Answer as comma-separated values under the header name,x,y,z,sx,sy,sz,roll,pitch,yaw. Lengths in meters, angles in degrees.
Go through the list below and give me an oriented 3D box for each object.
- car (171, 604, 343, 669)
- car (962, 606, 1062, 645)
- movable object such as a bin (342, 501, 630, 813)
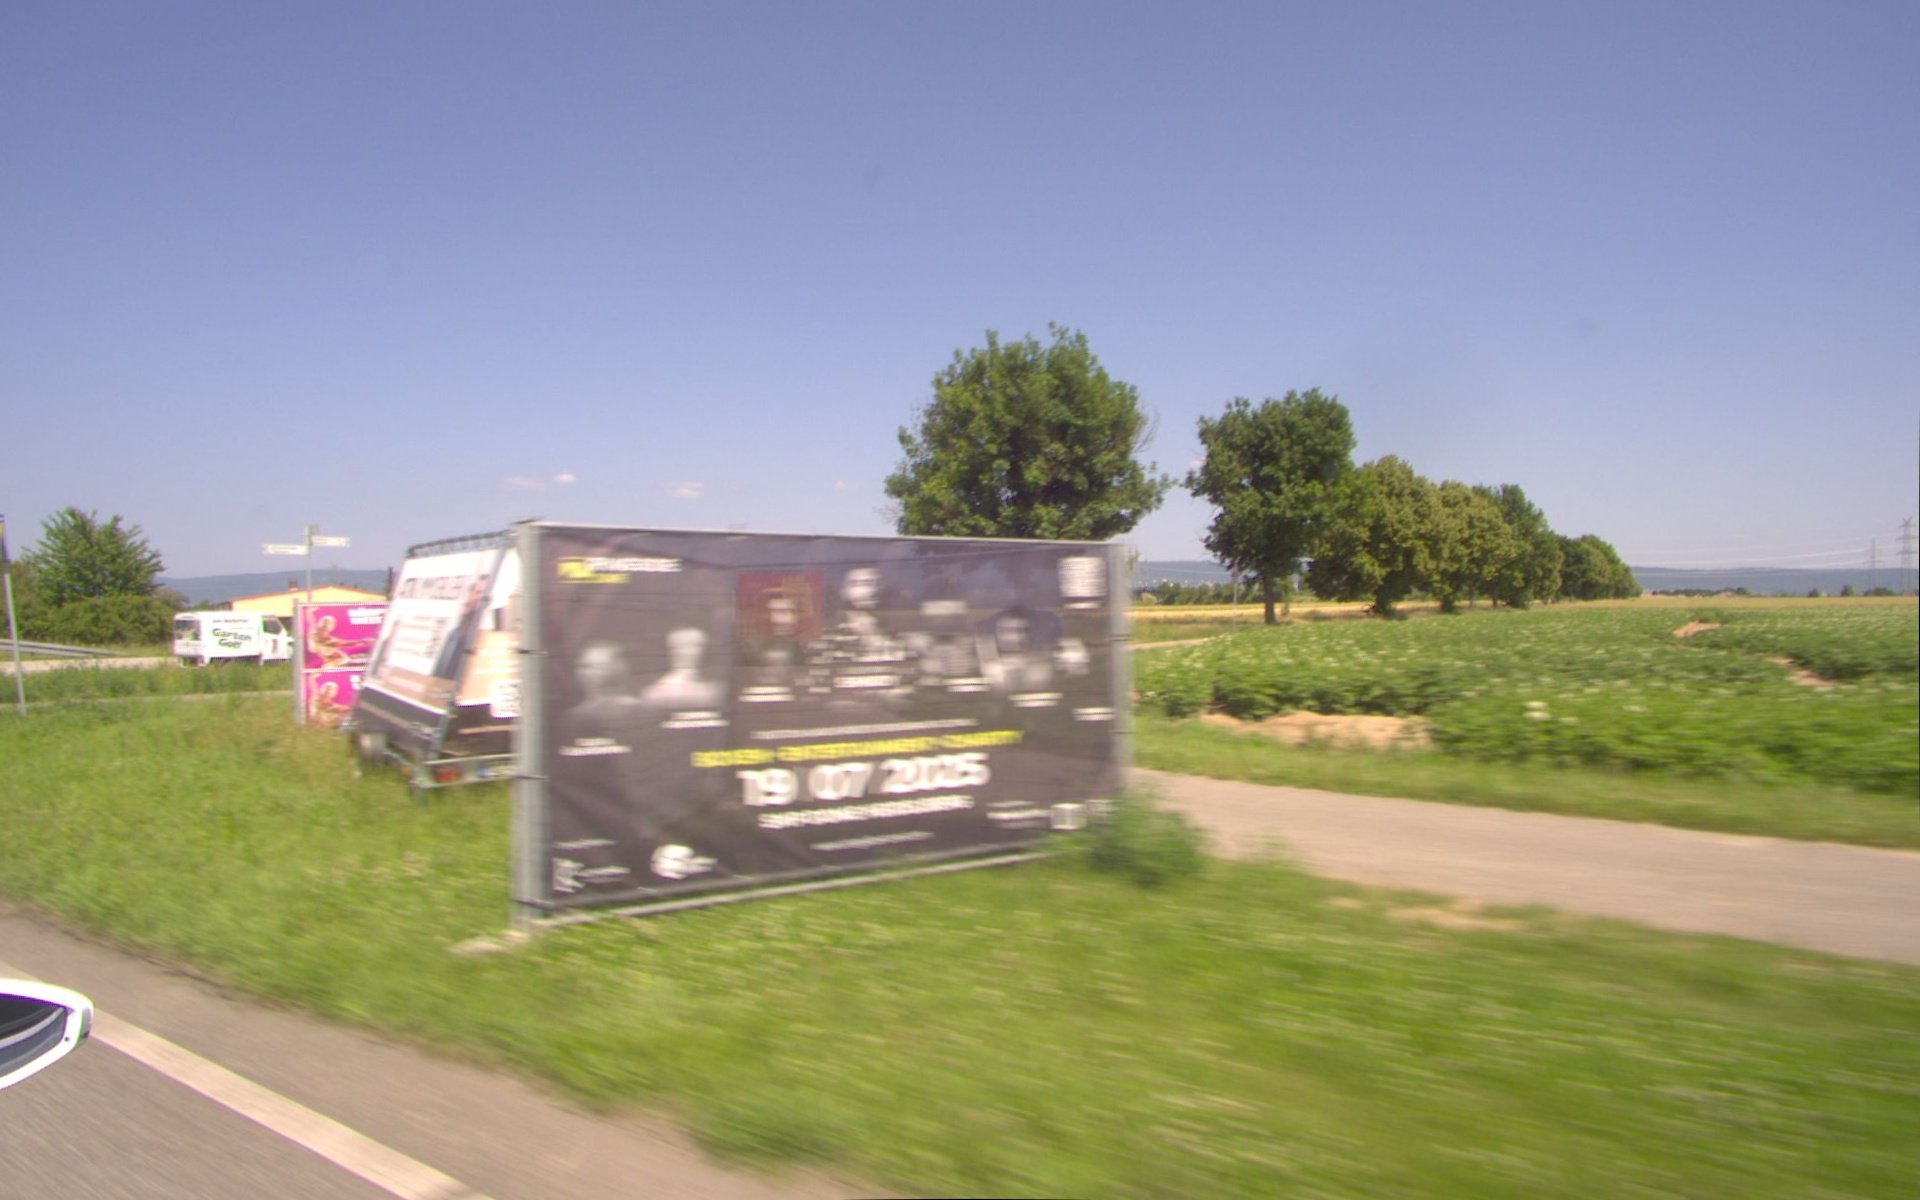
name,x,y,z,sx,sy,sz,roll,pitch,yaw
car,-17.718,0.886,25.372,1.378,1.519,3.336,0,-1,25
car,2.142,1.026,41.400,3.832,1.547,1.751,0,0,36
movable object such as a bin,-4.851,0.513,9.888,1.510,2.393,4.388,1,-2,-40
